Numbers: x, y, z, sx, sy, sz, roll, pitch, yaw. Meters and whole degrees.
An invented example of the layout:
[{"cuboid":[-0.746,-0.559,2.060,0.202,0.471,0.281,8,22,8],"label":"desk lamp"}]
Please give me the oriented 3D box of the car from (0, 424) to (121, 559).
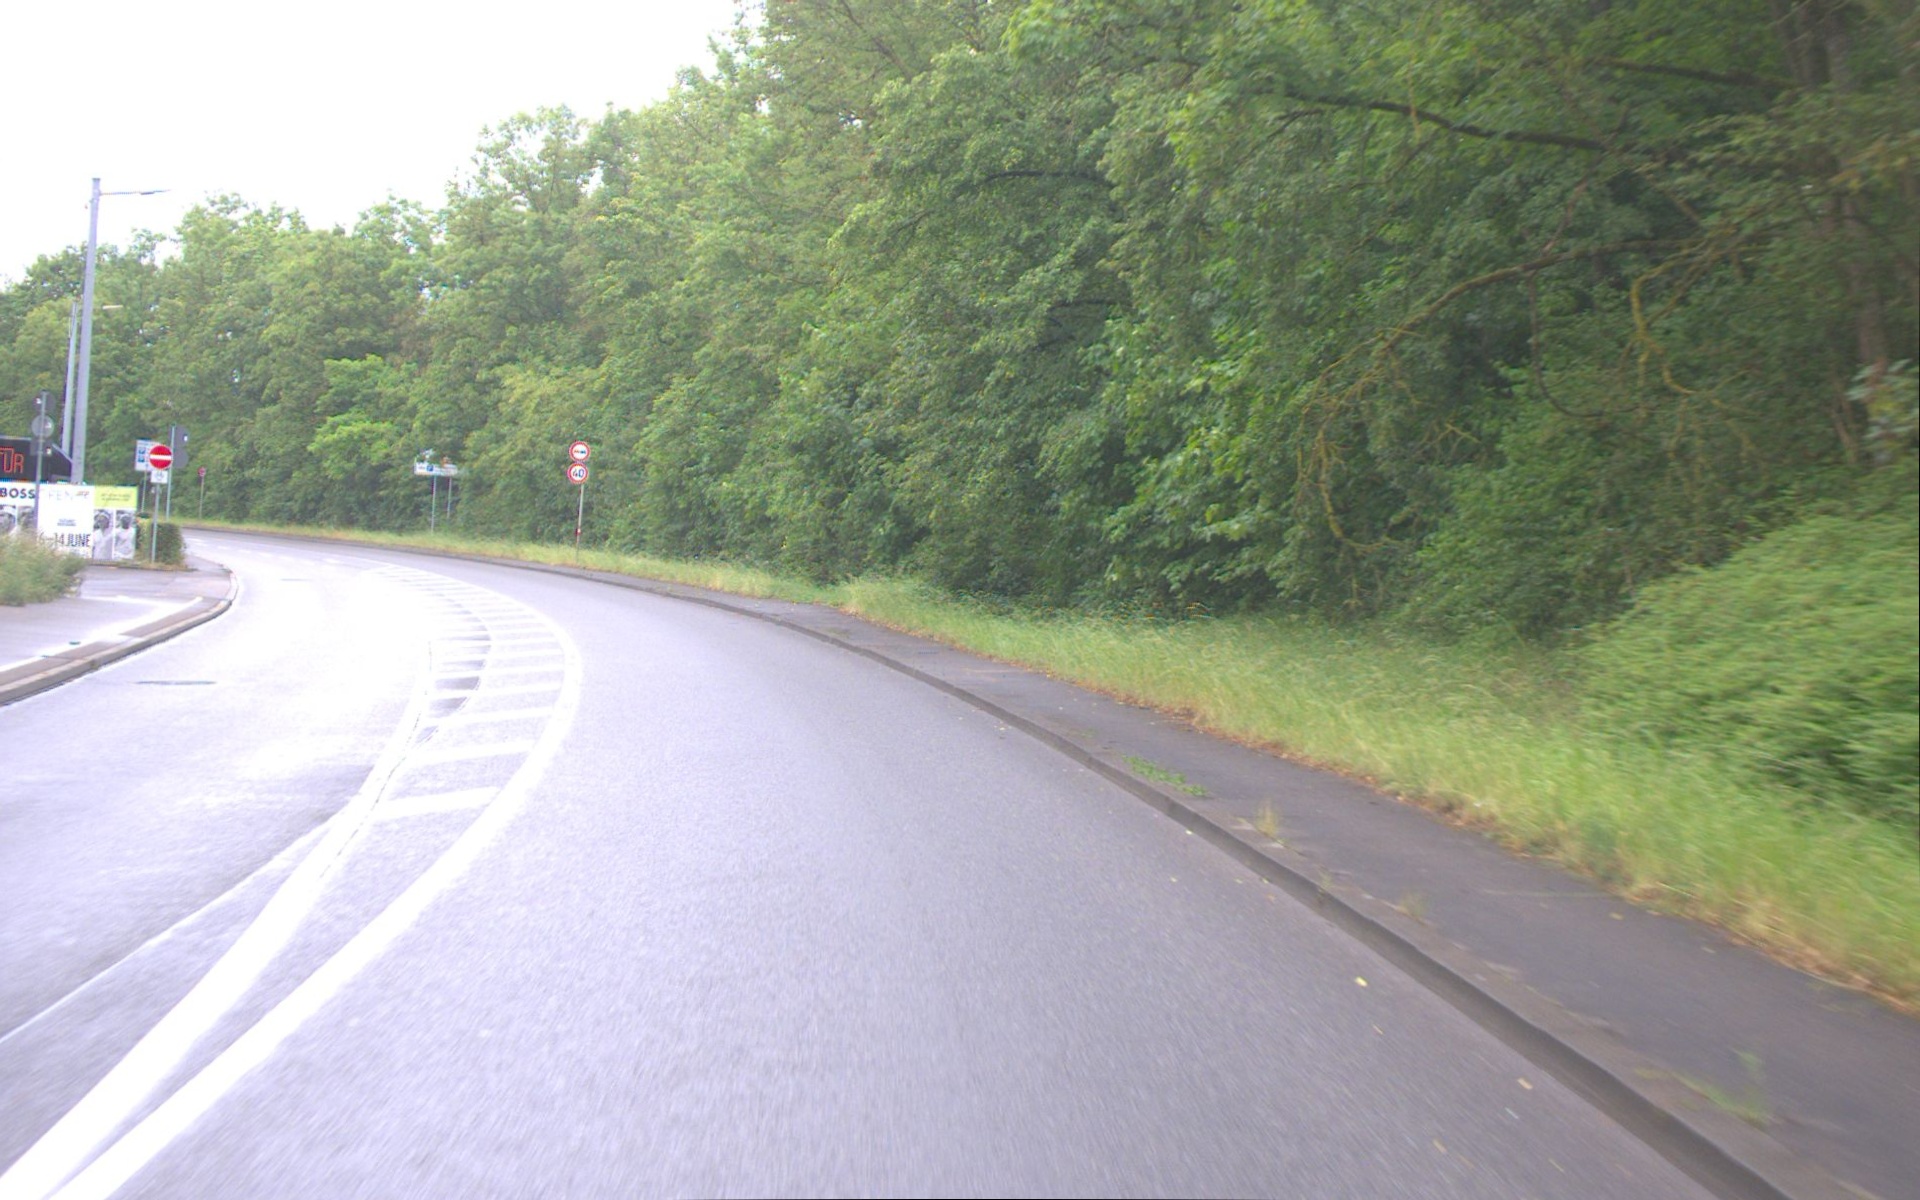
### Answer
[{"cuboid":[-25.646,-2.929,92.041,5.945,3.490,2.001,1,1,-19],"label":"car"}]
